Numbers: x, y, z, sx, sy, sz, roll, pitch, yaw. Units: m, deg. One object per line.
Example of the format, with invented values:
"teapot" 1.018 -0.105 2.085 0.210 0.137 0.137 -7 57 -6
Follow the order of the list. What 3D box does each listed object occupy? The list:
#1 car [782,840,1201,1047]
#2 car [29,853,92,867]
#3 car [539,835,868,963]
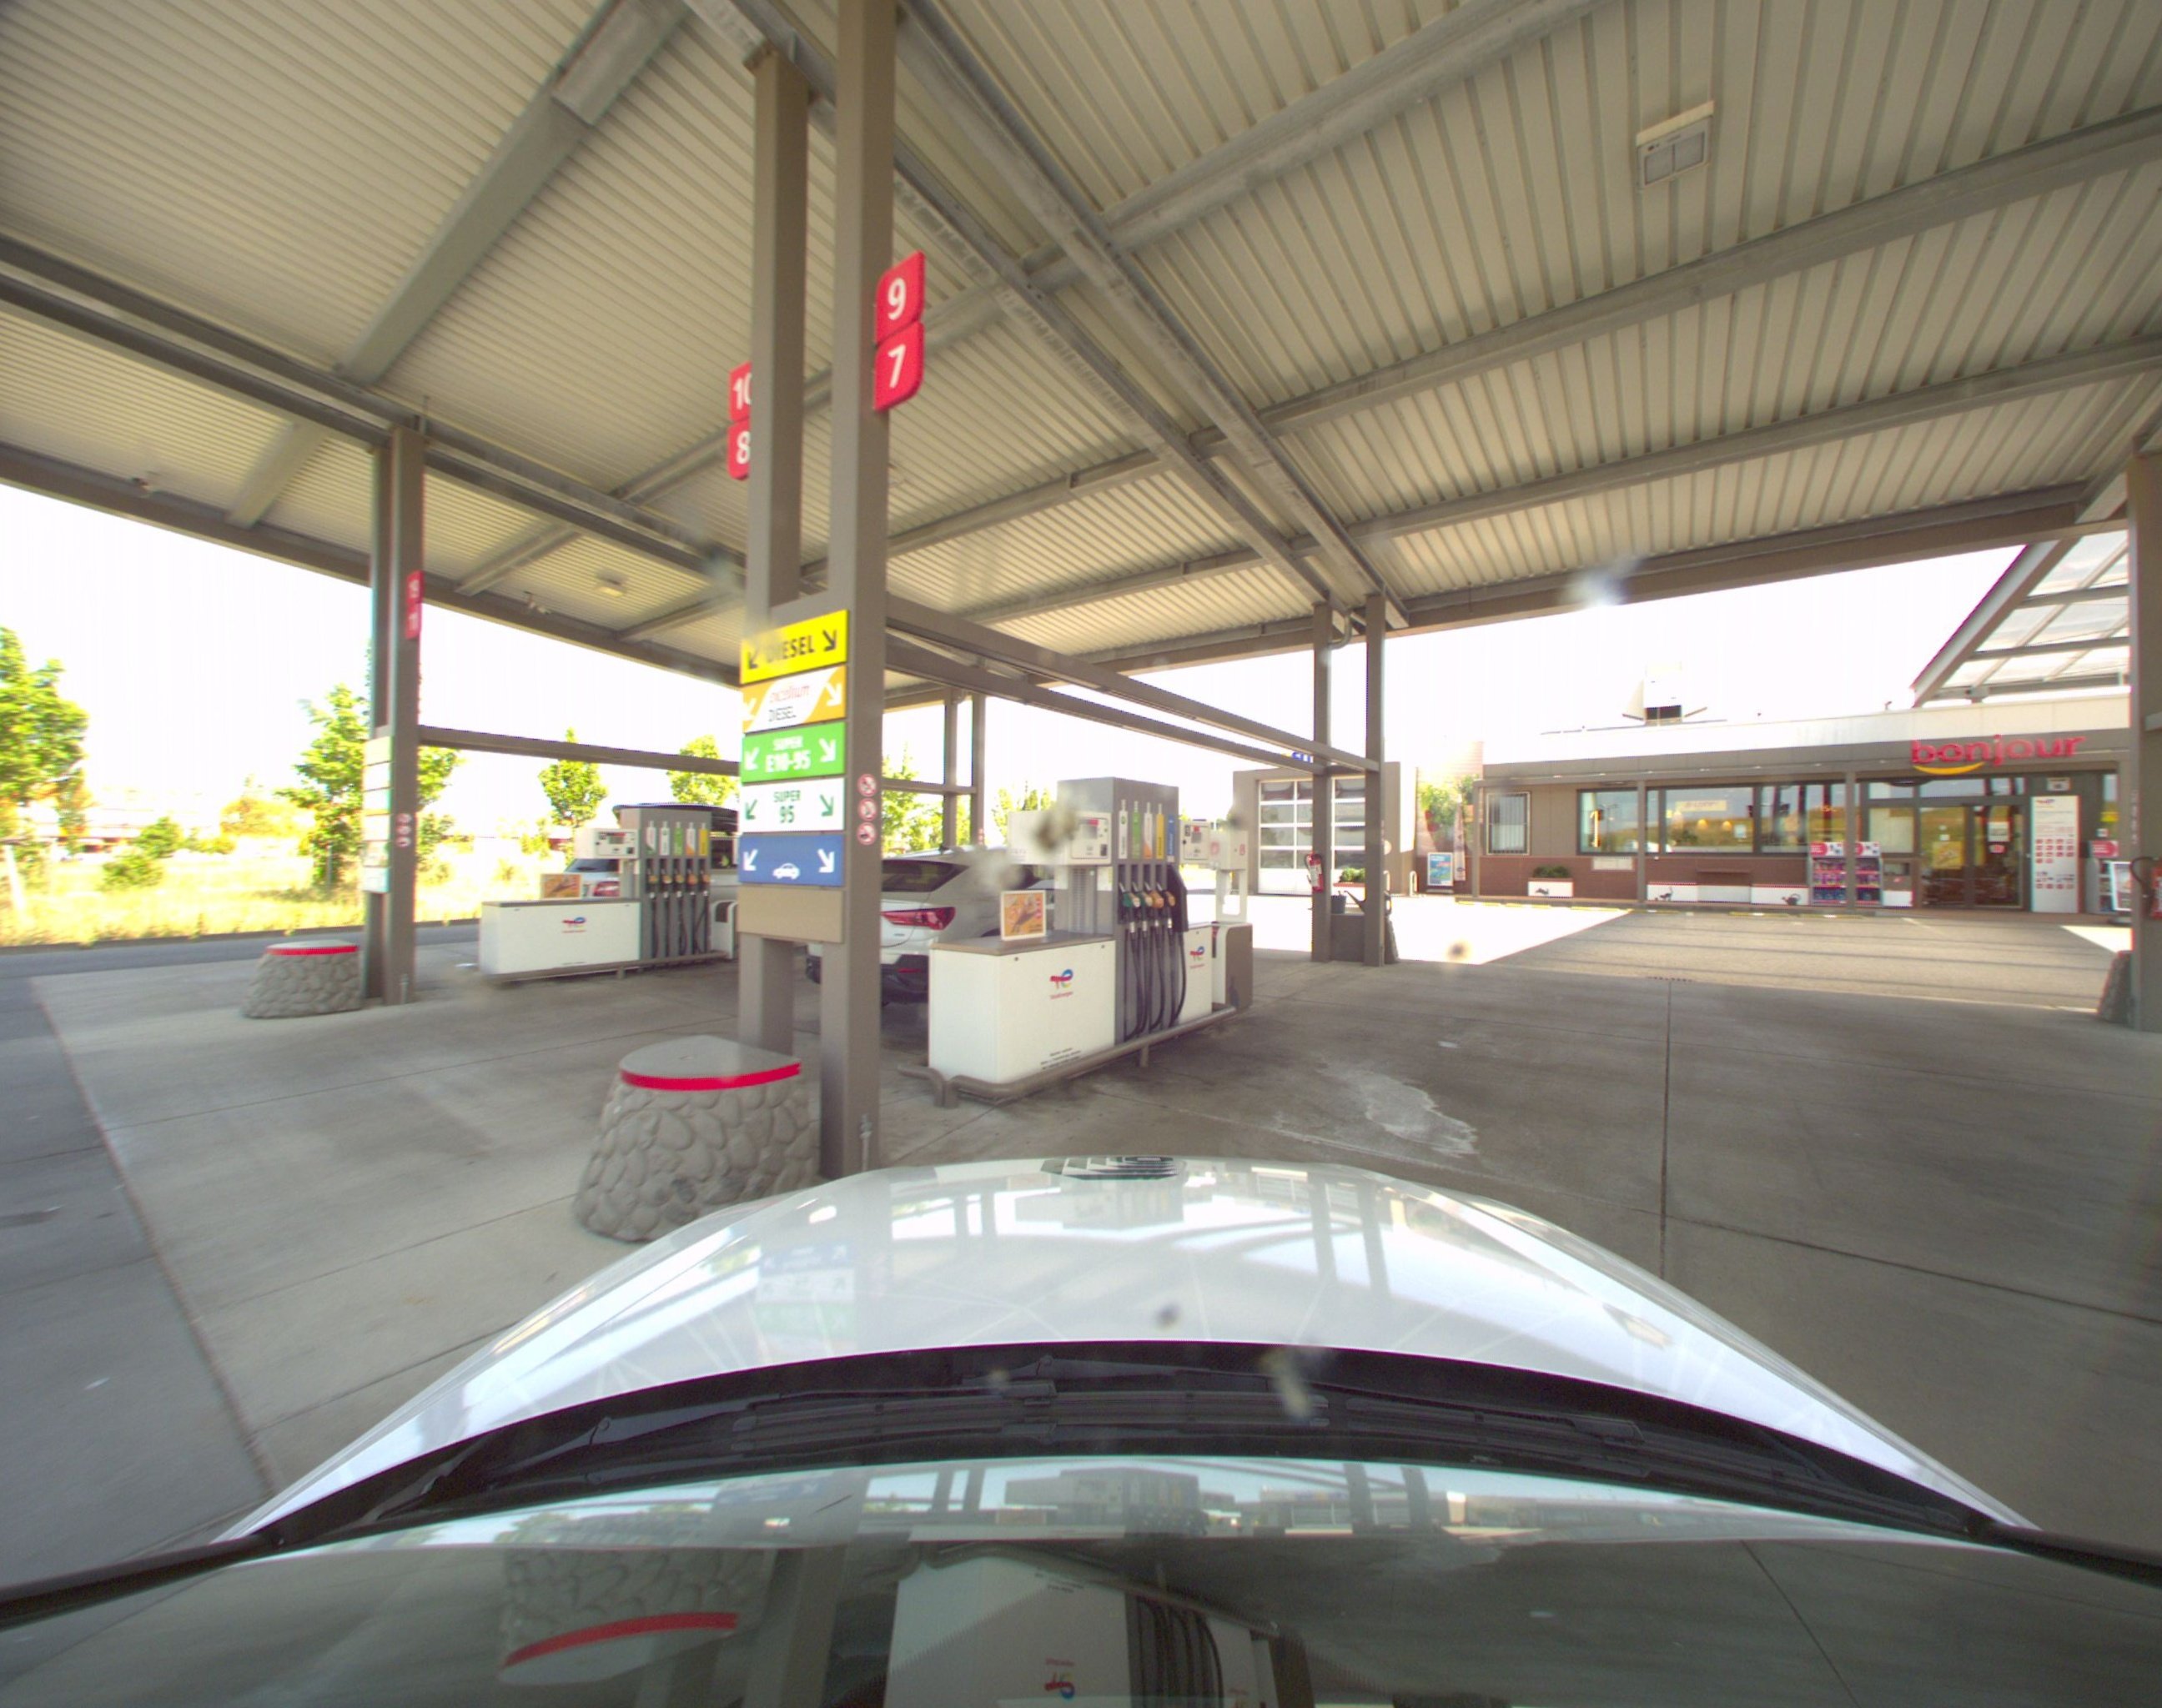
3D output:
"car" -0.600 0.653 8.327 1.763 1.541 4.353 0 0 37
"car" -109.774 0.621 87.612 1.650 1.470 4.196 0 0 38
"car" -5.821 0.580 13.182 1.841 1.687 4.565 0 0 32
